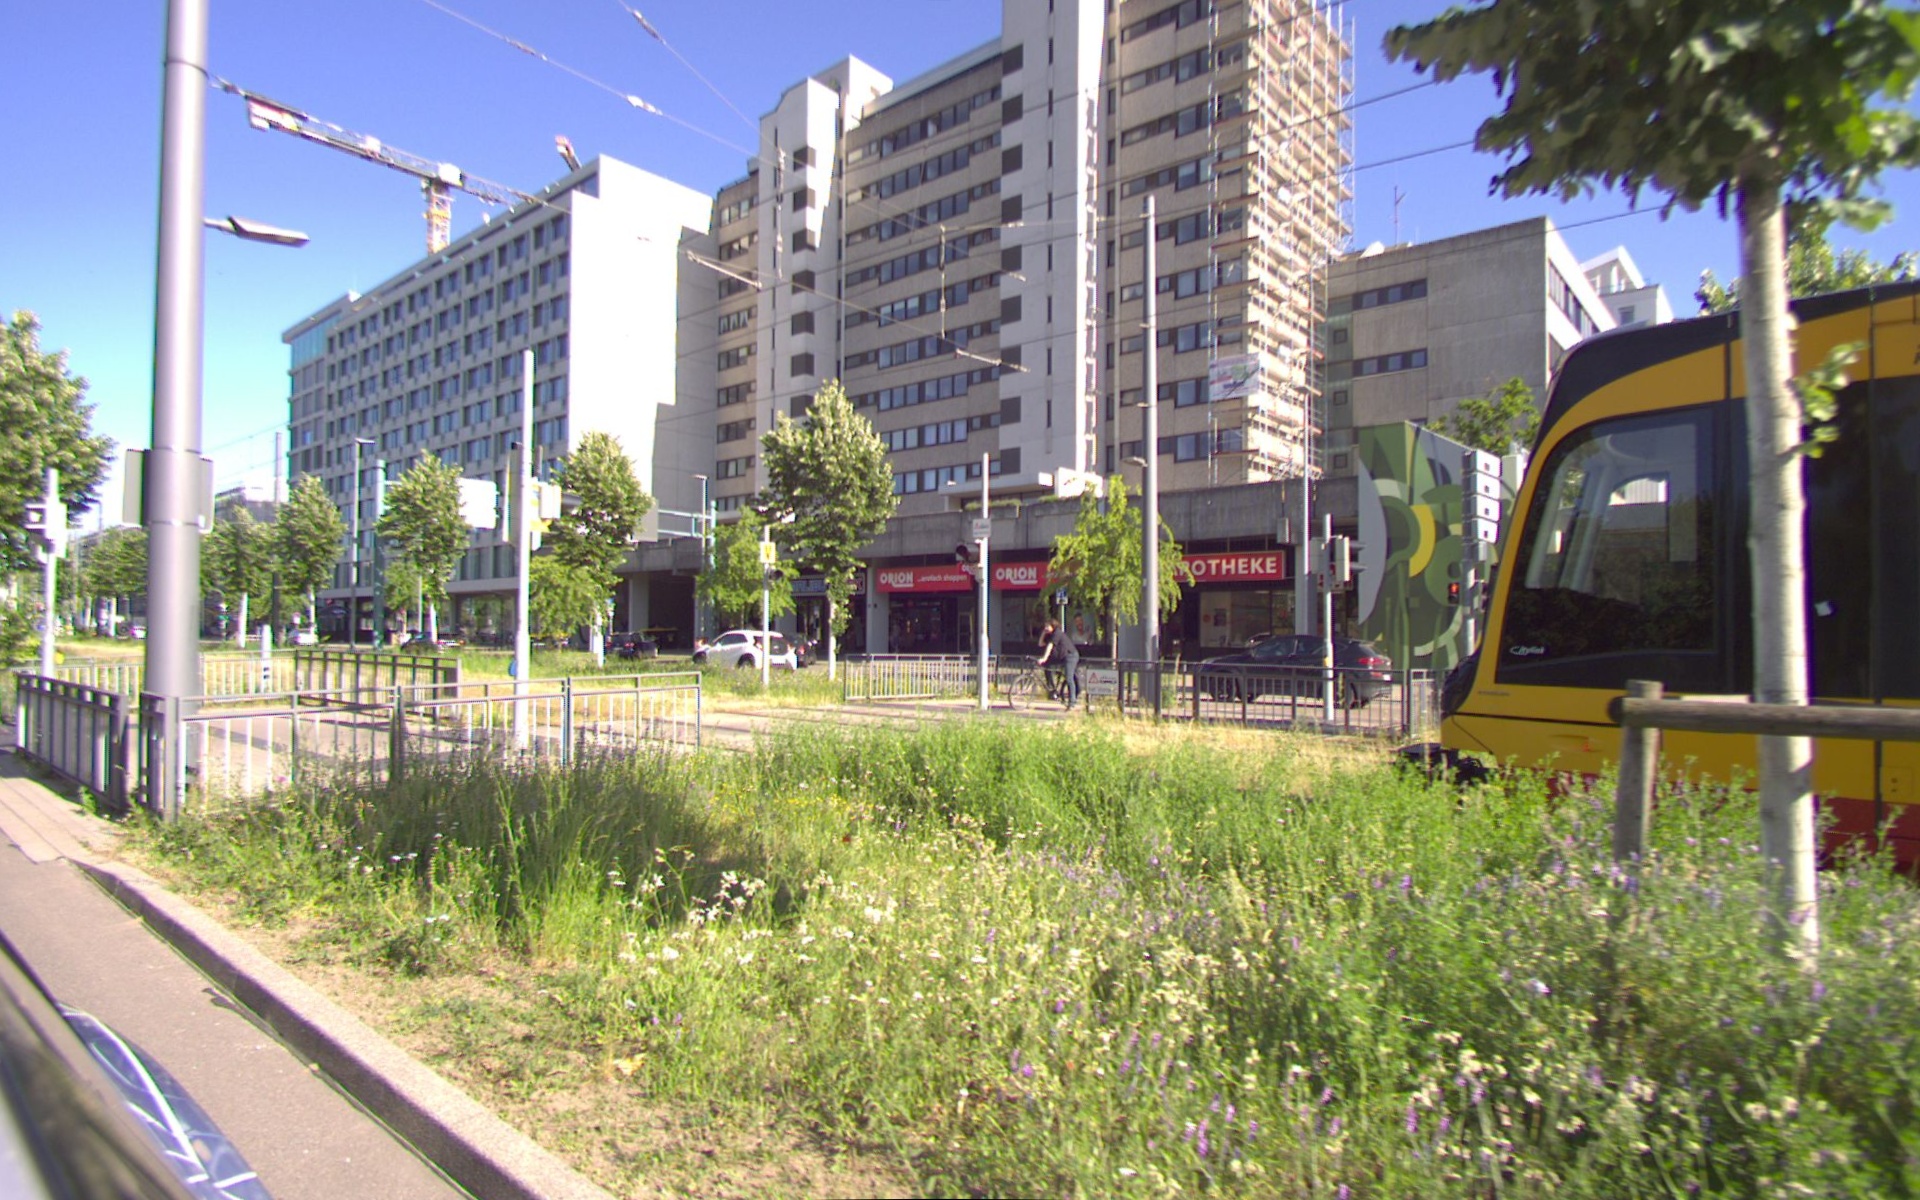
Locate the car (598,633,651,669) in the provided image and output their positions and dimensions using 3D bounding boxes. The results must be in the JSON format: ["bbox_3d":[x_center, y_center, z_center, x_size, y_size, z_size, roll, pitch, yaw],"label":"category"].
[{"bbox_3d":[-17.266,2.580,52.254,1.768,1.697,4.005,0,-1,-6],"label":"car"}]

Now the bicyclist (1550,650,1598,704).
[{"bbox_3d":[14.630,1.824,24.137,0.755,1.234,0.581,0,-1,-10],"label":"bicyclist"}]

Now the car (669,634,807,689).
[{"bbox_3d":[-7.149,1.915,32.447,4.502,1.590,1.974,-1,-1,39],"label":"car"}]

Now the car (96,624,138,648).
[{"bbox_3d":[-67.072,2.815,80.502,4.284,1.833,1.972,-1,-1,42],"label":"car"}]

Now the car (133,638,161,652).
[{"bbox_3d":[-92.566,5.137,115.201,3.811,1.519,1.804,-1,-1,41],"label":"car"}]

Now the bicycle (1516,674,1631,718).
[{"bbox_3d":[14.621,2.277,24.137,2.630,0.958,0.564,0,-1,-11],"label":"bicycle"}]

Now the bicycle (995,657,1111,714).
[{"bbox_3d":[1.642,1.491,17.838,1.995,0.958,0.560,-1,-1,11],"label":"bicycle"}]

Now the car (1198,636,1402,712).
[{"bbox_3d":[7.883,1.695,23.637,4.102,1.590,1.974,-1,-5,39],"label":"car"}]

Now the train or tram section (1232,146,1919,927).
[{"bbox_3d":[7.942,-0.353,3.223,14.140,3.697,1.973,-1,-1,40],"label":"train or tram section"}]

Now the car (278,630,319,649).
[{"bbox_3d":[-55.095,3.273,84.259,3.771,1.561,1.841,-1,-1,41],"label":"car"}]

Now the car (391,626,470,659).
[{"bbox_3d":[-26.930,2.115,51.389,4.502,1.590,1.974,-1,-1,39],"label":"car"}]

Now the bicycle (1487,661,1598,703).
[{"bbox_3d":[14.390,2.022,25.010,2.630,0.958,0.564,0,-1,-11],"label":"bicycle"}]

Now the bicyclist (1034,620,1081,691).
[{"bbox_3d":[1.727,0.967,17.829,0.760,1.234,0.578,-1,-1,12],"label":"bicyclist"}]

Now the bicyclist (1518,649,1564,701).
[{"bbox_3d":[14.341,1.840,24.997,0.755,1.234,0.581,0,-1,-10],"label":"bicyclist"}]
